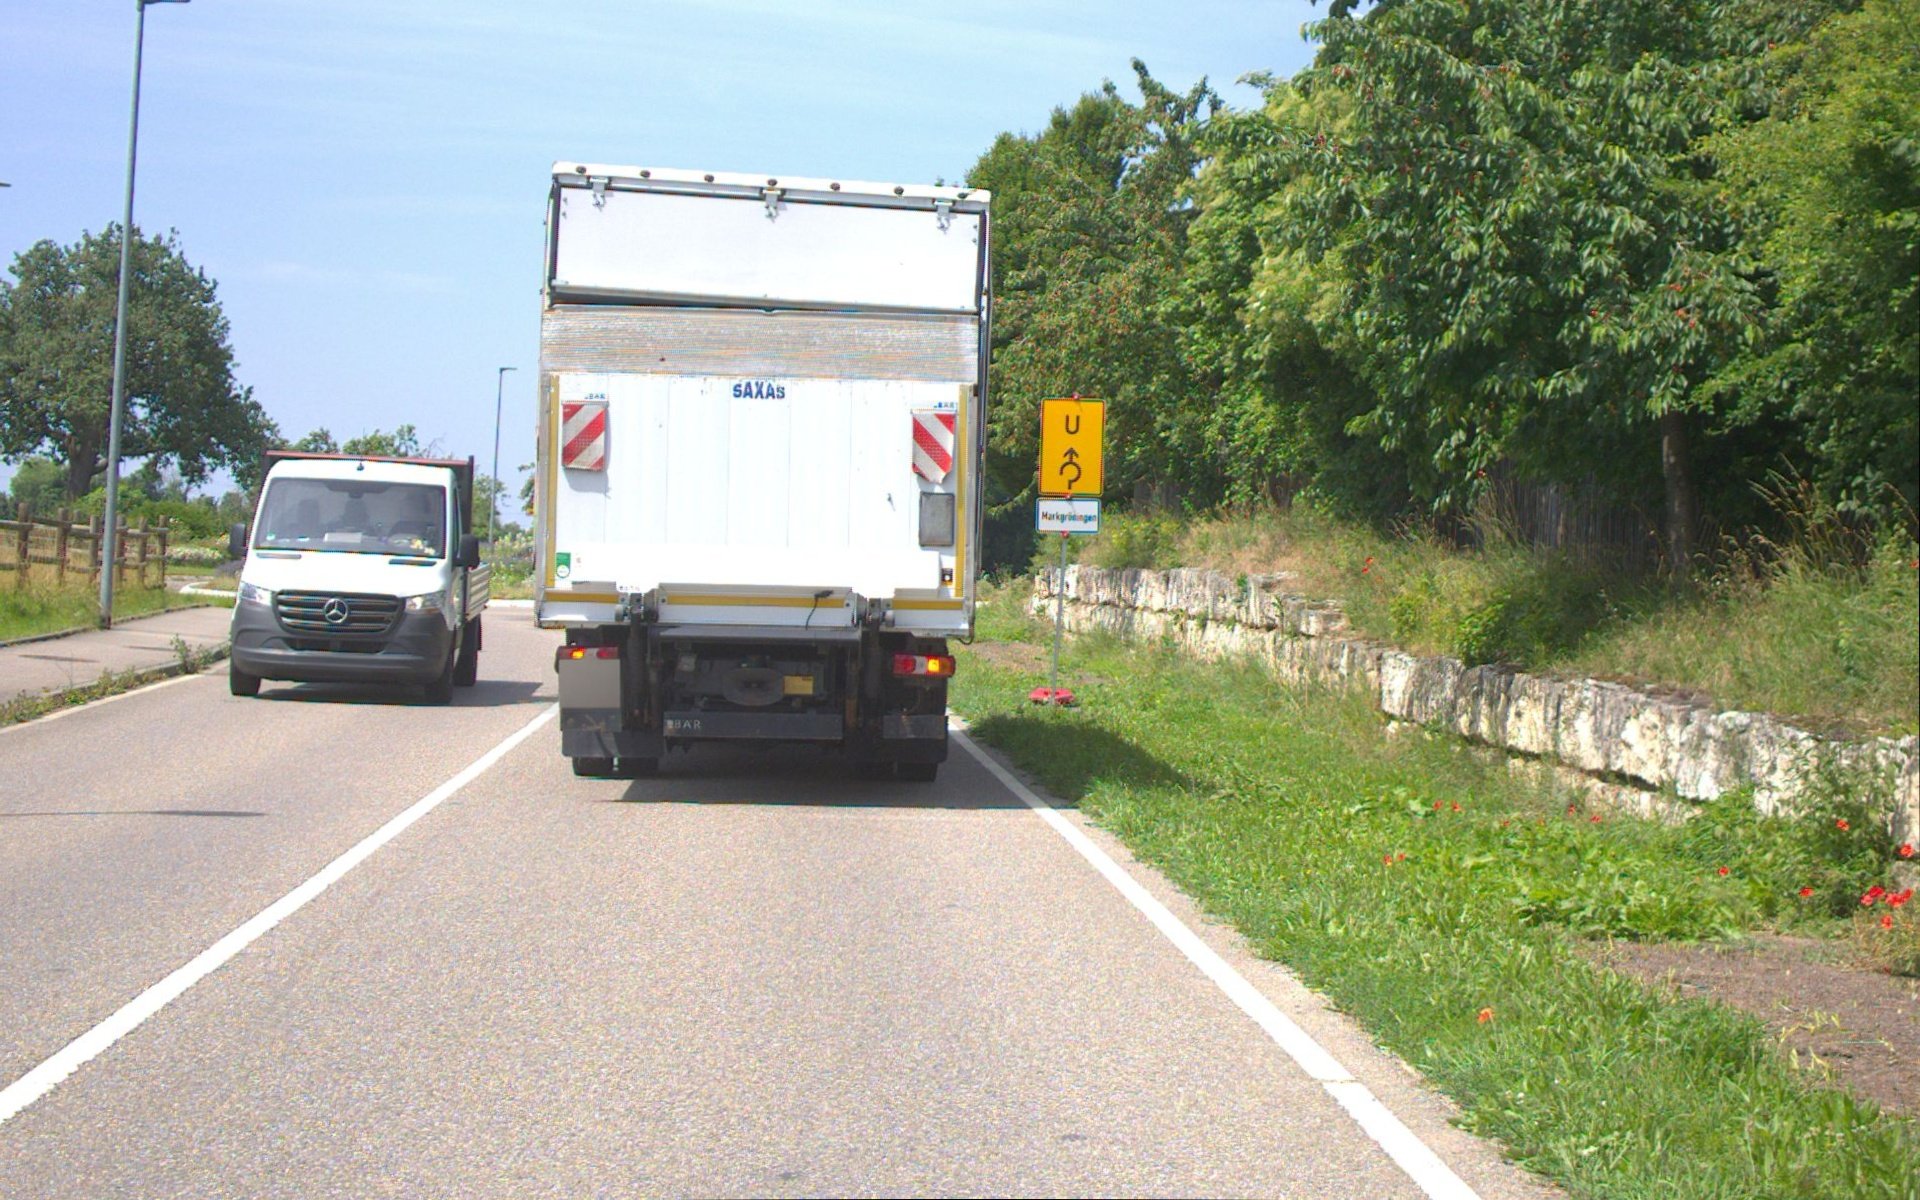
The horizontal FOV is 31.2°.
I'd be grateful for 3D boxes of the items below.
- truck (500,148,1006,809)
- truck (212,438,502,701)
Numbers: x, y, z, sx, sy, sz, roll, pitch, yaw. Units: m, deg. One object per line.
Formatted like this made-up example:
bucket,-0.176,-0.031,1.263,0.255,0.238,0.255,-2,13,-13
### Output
truck,-1.482,-0.752,24.012,2.766,3.658,9.384,1,1,-4
truck,-5.796,-0.314,33.837,2.222,2.285,6.493,2,1,-5
